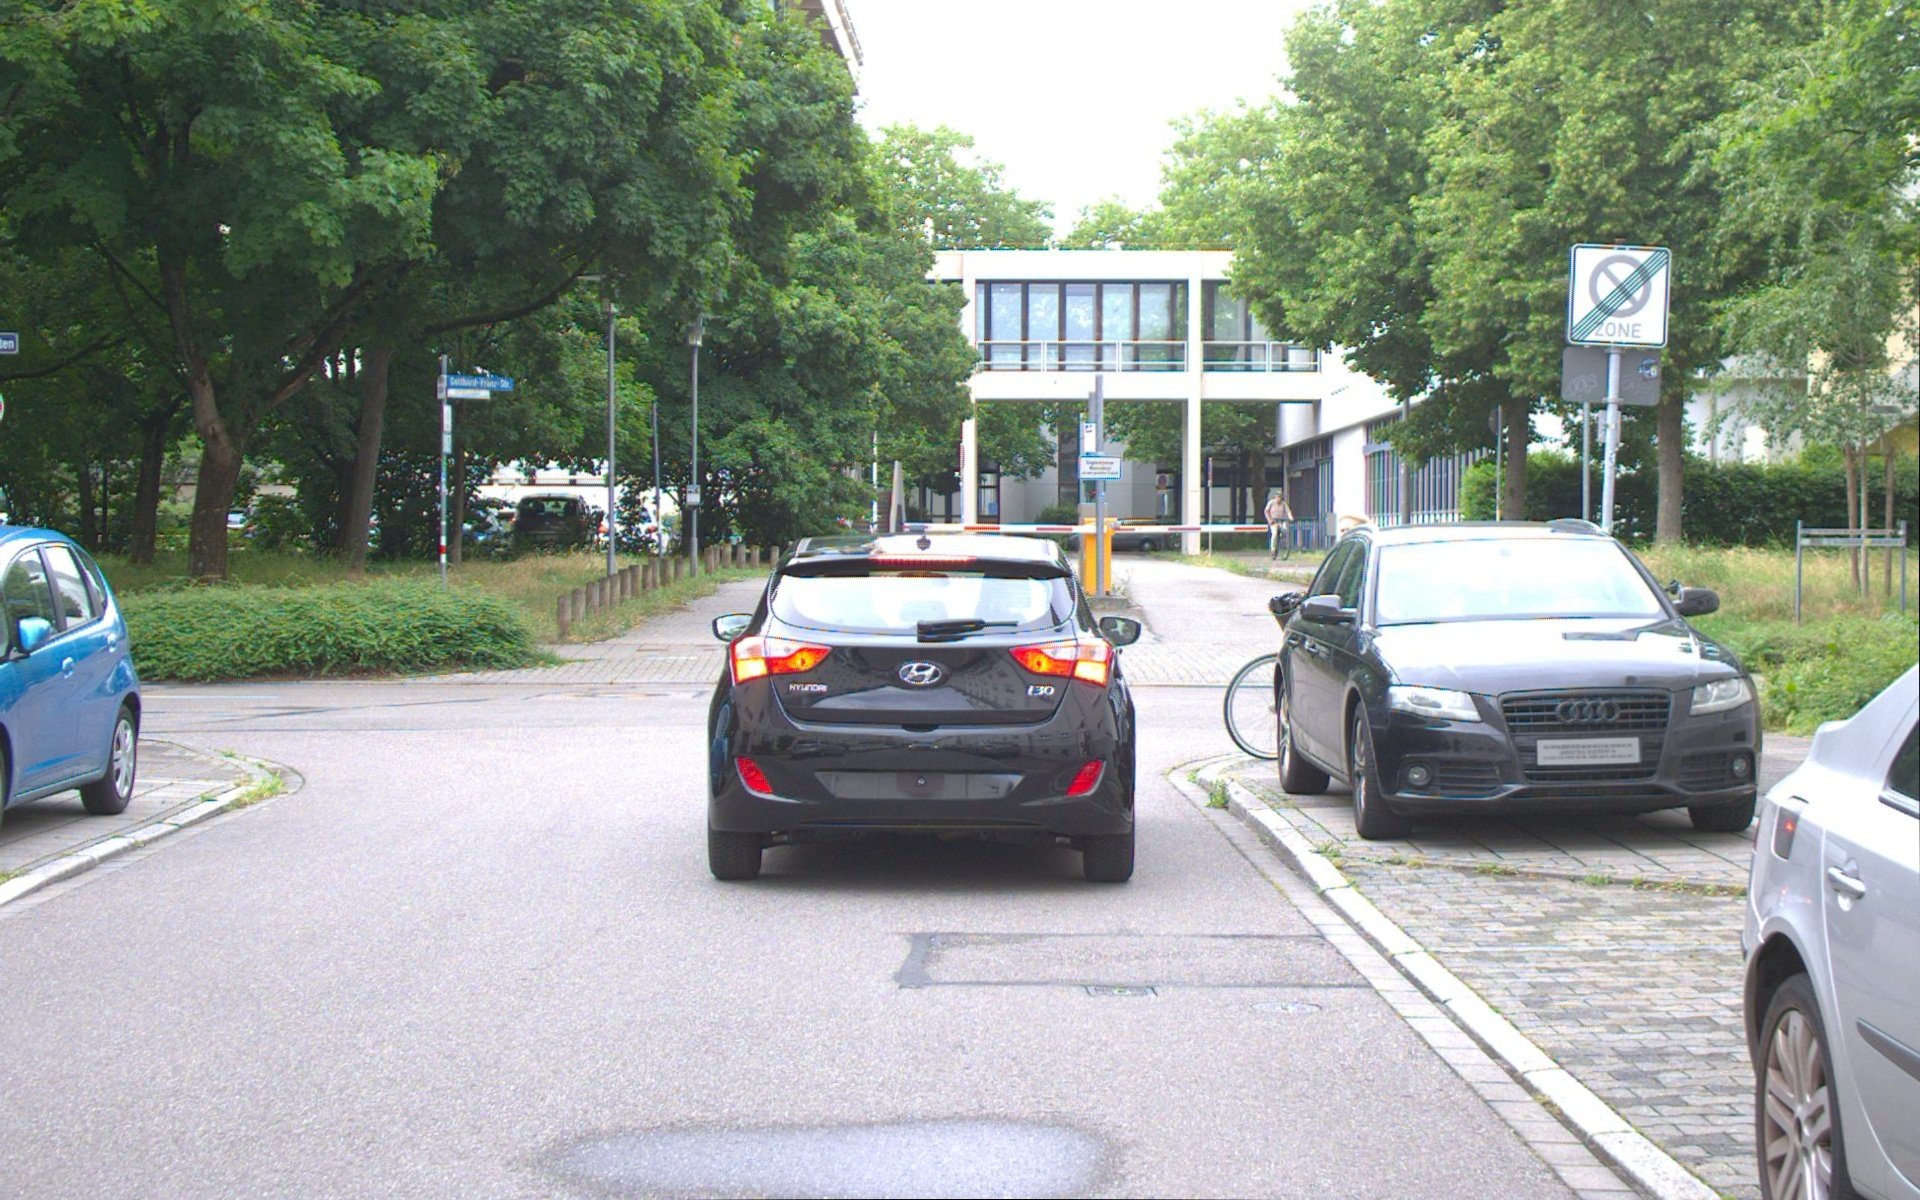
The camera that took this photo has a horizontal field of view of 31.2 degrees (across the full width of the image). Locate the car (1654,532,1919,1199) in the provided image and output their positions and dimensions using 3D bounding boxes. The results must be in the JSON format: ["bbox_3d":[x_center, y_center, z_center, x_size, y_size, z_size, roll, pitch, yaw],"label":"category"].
[{"bbox_3d":[2.437,0.649,5.195,1.732,1.457,4.431,0,2,-2],"label":"car"}]

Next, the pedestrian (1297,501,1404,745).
[{"bbox_3d":[2.524,0.141,22.256,0.566,1.544,0.448,-2,2,-7],"label":"pedestrian"}]

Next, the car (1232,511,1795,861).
[{"bbox_3d":[2.555,0.304,17.045,1.860,1.457,4.726,-1,2,-2],"label":"car"}]

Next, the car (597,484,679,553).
[{"bbox_3d":[-8.307,-2.083,88.932,1.993,1.756,4.001,0,1,-4],"label":"car"}]

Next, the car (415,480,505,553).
[{"bbox_3d":[-12.903,-2.132,88.908,1.993,1.788,4.000,0,0,-4],"label":"car"}]

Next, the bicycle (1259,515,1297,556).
[{"bbox_3d":[8.771,-1.789,94.935,0.866,1.071,2.142,0,2,1],"label":"bicycle"}]

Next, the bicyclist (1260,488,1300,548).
[{"bbox_3d":[8.812,-2.262,94.746,1.017,1.639,0.923,0,2,1],"label":"bicyclist"}]

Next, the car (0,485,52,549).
[{"bbox_3d":[-24.938,-2.166,89.277,1.917,1.612,4.001,0,1,-4],"label":"car"}]

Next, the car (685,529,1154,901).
[{"bbox_3d":[-0.236,0.418,15.520,1.846,1.457,3.828,1,1,-2],"label":"car"}]

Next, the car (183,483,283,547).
[{"bbox_3d":[-18.731,-2.187,88.696,1.993,1.612,4.001,0,1,-4],"label":"car"}]

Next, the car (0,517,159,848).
[{"bbox_3d":[-5.232,0.336,16.747,1.730,1.457,3.957,3,2,-1],"label":"car"}]

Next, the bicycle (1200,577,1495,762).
[{"bbox_3d":[2.530,0.442,22.487,1.812,1.115,0.538,-2,2,-8],"label":"bicycle"}]
